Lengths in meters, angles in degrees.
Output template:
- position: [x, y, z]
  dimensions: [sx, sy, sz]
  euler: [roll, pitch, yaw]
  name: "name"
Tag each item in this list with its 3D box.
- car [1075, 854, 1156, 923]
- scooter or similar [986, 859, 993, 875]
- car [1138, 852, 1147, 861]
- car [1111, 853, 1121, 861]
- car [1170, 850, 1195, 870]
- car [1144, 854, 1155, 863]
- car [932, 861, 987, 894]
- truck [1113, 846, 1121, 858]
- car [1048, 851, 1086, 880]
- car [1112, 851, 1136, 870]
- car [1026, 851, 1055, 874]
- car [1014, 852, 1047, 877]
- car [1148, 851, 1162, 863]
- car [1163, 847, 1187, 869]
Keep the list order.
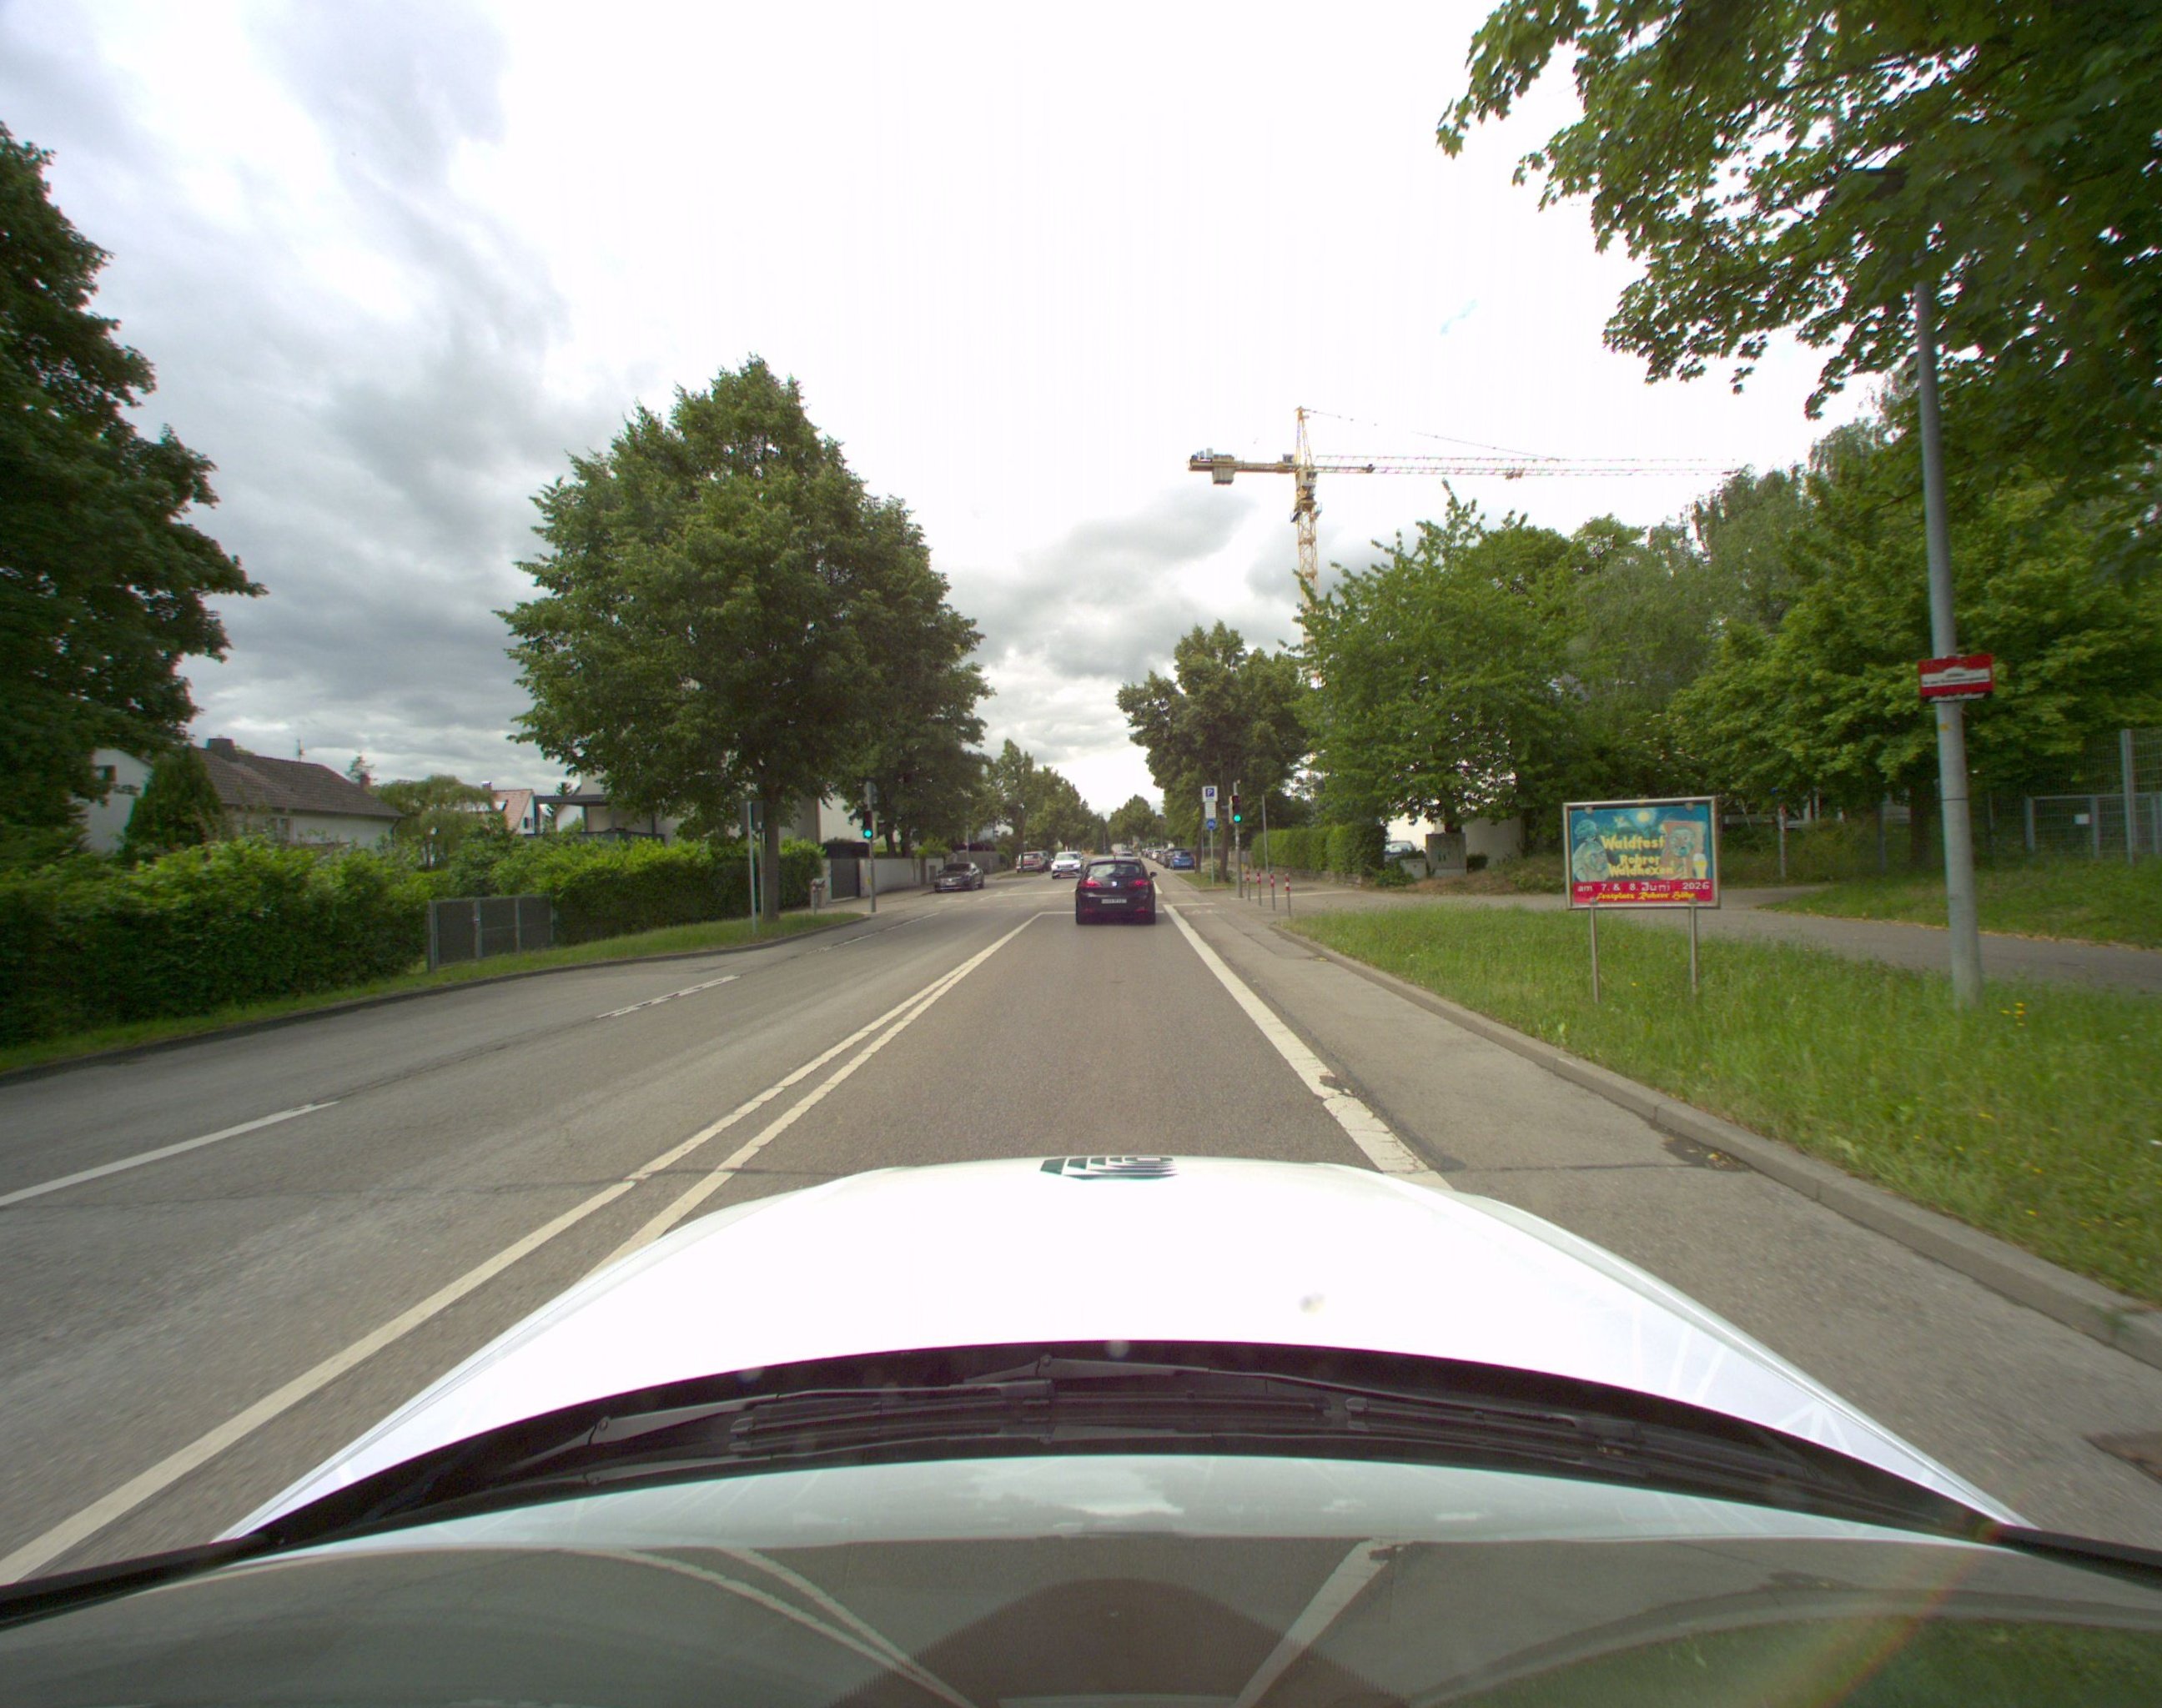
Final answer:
- position: [0.753, 0.723, 18.714]
  dimensions: [1.657, 1.401, 3.813]
  euler: [0, 0, 1]
  name: "car"
- position: [-7.441, 1.070, 66.439]
  dimensions: [0.386, 1.230, 1.498]
  euler: [-2, 0, -1]
  name: "scooter or similar"
- position: [13.569, 0.506, 179.484]
  dimensions: [1.681, 1.875, 4.216]
  euler: [-2, 0, 3]
  name: "car"
- position: [7.076, 0.614, 163.971]
  dimensions: [1.874, 1.689, 4.216]
  euler: [-2, 0, 3]
  name: "car"
- position: [7.924, 0.456, 63.659]
  dimensions: [1.681, 1.490, 3.357]
  euler: [-2, 0, 3]
  name: "car"
- position: [11.462, 0.748, 136.465]
  dimensions: [1.681, 1.564, 4.216]
  euler: [-2, 0, 3]
  name: "car"
- position: [-5.971, 1.123, 40.511]
  dimensions: [1.711, 1.395, 4.804]
  euler: [-4, 0, 3]
  name: "car"
- position: [9.932, -0.529, 225.003]
  dimensions: [2.270, 3.104, 8.514]
  euler: [0, 0, 2]
  name: "truck"
- position: [-0.807, 0.663, 51.178]
  dimensions: [1.866, 1.635, 4.346]
  euler: [-4, 0, 5]
  name: "car"
- position: [3.469, 0.500, 65.763]
  dimensions: [1.839, 1.510, 3.814]
  euler: [0, 0, 2]
  name: "car"
- position: [-3.809, 0.775, 77.206]
  dimensions: [2.091, 1.896, 5.788]
  euler: [-4, 0, 3]
  name: "car"
- position: [-4.256, 0.842, 69.783]
  dimensions: [2.091, 1.896, 5.788]
  euler: [-4, 0, 3]
  name: "car"
- position: [10.162, 0.426, 112.199]
  dimensions: [1.681, 1.564, 4.216]
  euler: [-2, 0, 3]
  name: "car"
- position: [7.923, 0.341, 68.959]
  dimensions: [1.681, 1.711, 4.216]
  euler: [-2, 0, 3]
  name: "car"
